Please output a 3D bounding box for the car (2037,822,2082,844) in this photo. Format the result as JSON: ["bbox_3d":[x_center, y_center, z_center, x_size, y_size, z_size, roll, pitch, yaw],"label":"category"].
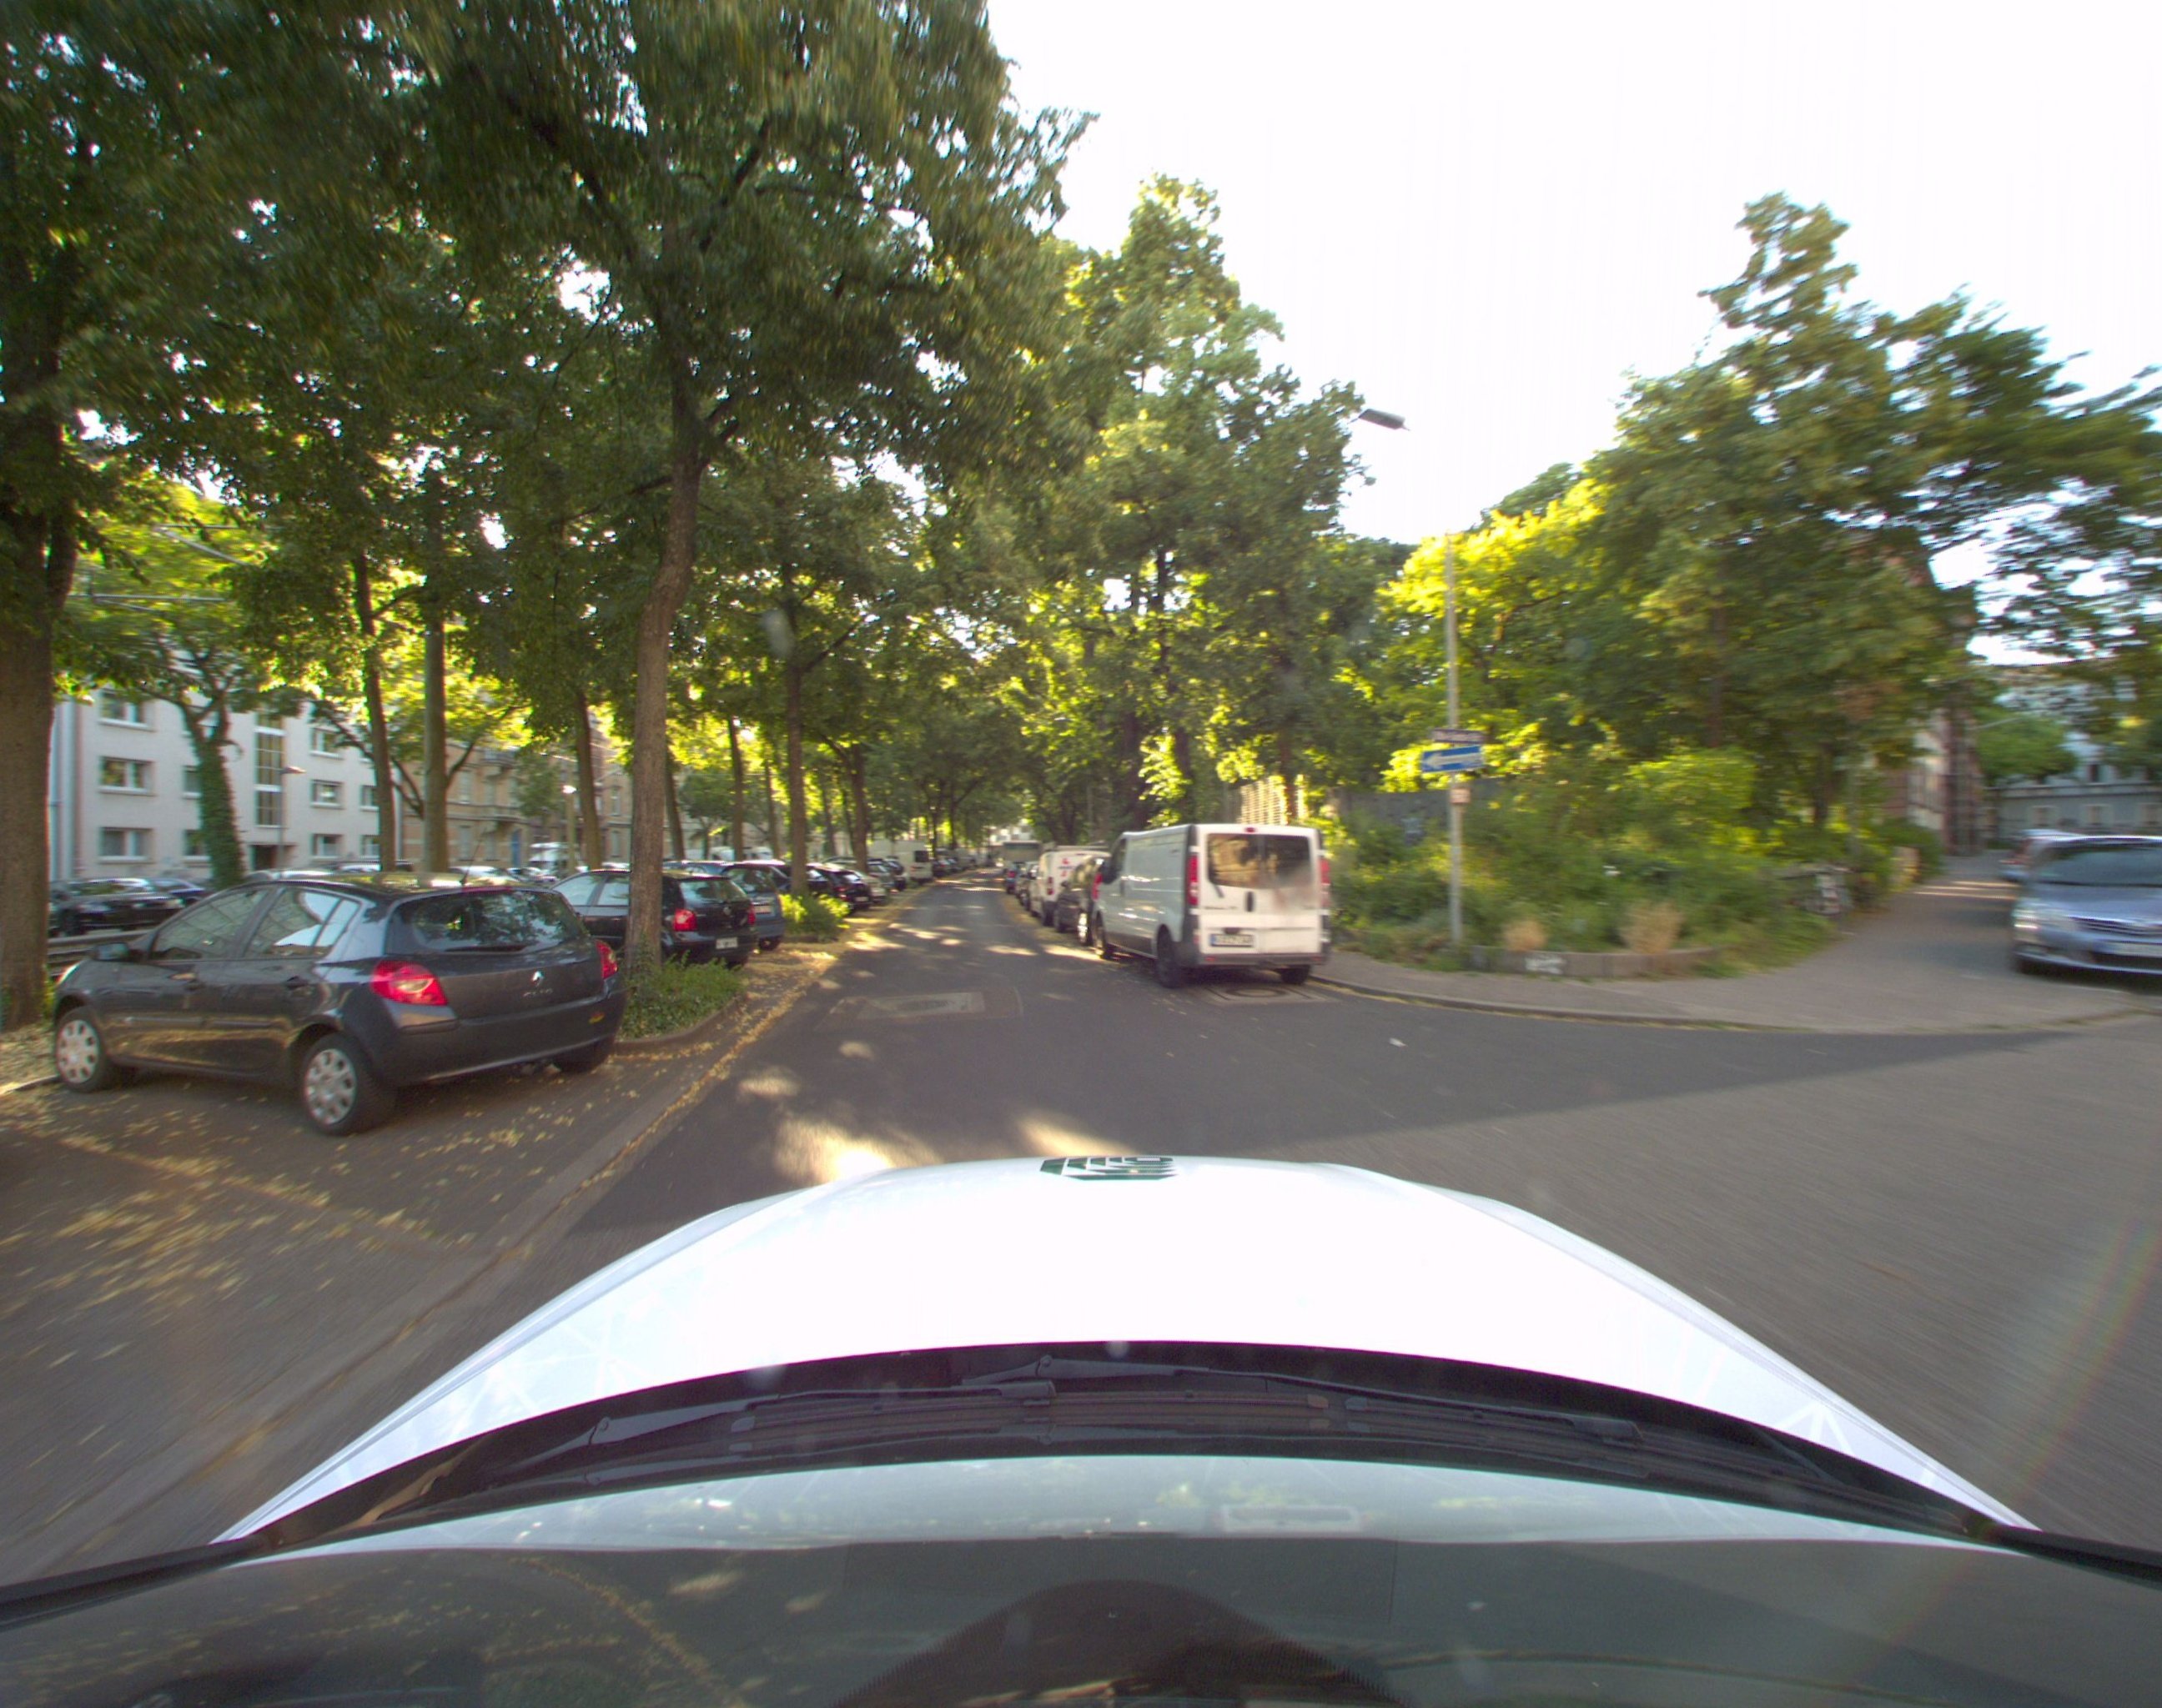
[{"bbox_3d":[81.439,-1.713,67.801,1.975,1.684,4.023,1,0,44],"label":"car"}]

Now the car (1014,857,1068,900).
[{"bbox_3d":[-1.539,0.864,30.349,1.571,1.467,3.589,-1,0,-9],"label":"car"}]

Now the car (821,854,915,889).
[{"bbox_3d":[-9.886,0.806,37.891,3.790,1.482,1.744,2,-1,13],"label":"car"}]

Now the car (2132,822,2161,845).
[{"bbox_3d":[85.388,-1.627,64.559,1.975,1.684,4.023,1,0,44],"label":"car"}]

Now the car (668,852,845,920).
[{"bbox_3d":[-8.209,0.781,20.688,3.790,1.497,1.744,2,-1,13],"label":"car"}]

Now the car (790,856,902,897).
[{"bbox_3d":[-9.247,0.877,32.171,3.790,1.421,1.744,2,-1,13],"label":"car"}]

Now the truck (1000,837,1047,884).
[{"bbox_3d":[-3.117,0.320,43.674,2.363,2.352,4.375,-1,0,-5],"label":"truck"}]

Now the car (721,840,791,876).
[{"bbox_3d":[-27.902,0.350,69.913,5.205,2.571,2.286,-5,0,22],"label":"car"}]

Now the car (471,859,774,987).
[{"bbox_3d":[-6.343,0.862,11.349,3.579,1.447,1.615,2,1,17],"label":"car"}]

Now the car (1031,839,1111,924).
[{"bbox_3d":[-0.344,0.615,20.626,1.570,1.903,3.892,-1,0,-7],"label":"car"}]

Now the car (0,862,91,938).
[{"bbox_3d":[-23.545,1.096,17.364,4.193,1.458,1.615,-5,0,18],"label":"car"}]

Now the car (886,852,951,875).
[{"bbox_3d":[-11.192,0.654,56.246,4.042,1.473,1.829,2,-1,25],"label":"car"}]

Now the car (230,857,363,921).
[{"bbox_3d":[-24.781,1.107,25.703,4.186,1.651,1.870,-5,0,30],"label":"car"}]

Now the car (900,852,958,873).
[{"bbox_3d":[-11.754,0.644,63.102,4.042,1.473,1.829,2,-1,25],"label":"car"}]

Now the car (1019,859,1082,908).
[{"bbox_3d":[-1.019,0.868,25.545,1.570,1.386,3.590,-1,0,-9],"label":"car"}]

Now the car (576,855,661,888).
[{"bbox_3d":[-26.173,1.012,46.095,4.190,1.473,1.868,-5,0,22],"label":"car"}]

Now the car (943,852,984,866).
[{"bbox_3d":[-12.991,0.563,89.960,4.042,1.473,1.829,2,-1,25],"label":"car"}]

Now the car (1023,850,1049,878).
[{"bbox_3d":[-2.845,0.612,51.632,1.568,1.648,3.596,-1,0,-3],"label":"car"}]

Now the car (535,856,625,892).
[{"bbox_3d":[-26.515,1.060,43.109,4.190,1.473,1.868,-5,0,22],"label":"car"}]

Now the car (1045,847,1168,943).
[{"bbox_3d":[0.374,0.704,16.064,1.572,1.637,3.696,-1,0,-12],"label":"car"}]

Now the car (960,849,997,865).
[{"bbox_3d":[-12.402,0.399,98.457,4.042,1.789,1.829,2,-1,25],"label":"car"}]

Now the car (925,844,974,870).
[{"bbox_3d":[-12.012,0.247,74.525,4.042,2.210,1.829,2,-1,25],"label":"car"}]

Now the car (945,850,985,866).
[{"bbox_3d":[-13.232,0.455,92.831,4.042,1.789,1.829,2,-1,25],"label":"car"}]

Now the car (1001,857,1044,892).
[{"bbox_3d":[-2.613,0.873,35.780,1.571,1.385,3.589,-1,0,-9],"label":"car"}]

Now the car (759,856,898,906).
[{"bbox_3d":[-8.034,0.834,26.032,3.790,1.391,1.744,2,-1,13],"label":"car"}]

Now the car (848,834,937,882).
[{"bbox_3d":[-10.266,0.210,44.391,4.445,2.476,1.829,2,-1,25],"label":"car"}]

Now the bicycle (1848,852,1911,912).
[{"bbox_3d":[16.351,0.538,16.657,2.640,1.101,0.592,-1,0,-39],"label":"bicycle"}]

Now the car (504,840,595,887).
[{"bbox_3d":[-35.026,0.565,53.906,2.547,2.887,5.475,-2,1,-3],"label":"car"}]

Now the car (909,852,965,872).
[{"bbox_3d":[-11.648,0.641,65.787,4.042,1.473,1.829,2,-1,25],"label":"car"}]

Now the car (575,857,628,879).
[{"bbox_3d":[-35.876,1.024,61.066,1.707,1.445,3.996,-2,1,-3],"label":"car"}]

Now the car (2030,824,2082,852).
[{"bbox_3d":[55.662,-0.946,46.509,3.951,1.500,1.811,-1,4,-40],"label":"car"}]

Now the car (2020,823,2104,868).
[{"bbox_3d":[35.816,-0.341,29.765,3.951,1.500,1.811,-1,4,-40],"label":"car"}]

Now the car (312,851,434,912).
[{"bbox_3d":[-24.737,0.976,28.445,4.186,1.749,1.870,-5,0,30],"label":"car"}]

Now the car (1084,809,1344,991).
[{"bbox_3d":[1.547,0.497,11.420,1.947,2.003,4.637,0,0,-14],"label":"car"}]

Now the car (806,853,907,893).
[{"bbox_3d":[-9.703,0.805,35.349,3.790,1.587,1.744,2,-1,13],"label":"car"}]

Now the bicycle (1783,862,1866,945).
[{"bbox_3d":[11.365,0.700,12.410,2.641,1.101,0.591,-1,0,-40],"label":"bicycle"}]

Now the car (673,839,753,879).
[{"bbox_3d":[-27.688,0.389,61.270,5.205,2.571,2.286,-5,0,22],"label":"car"}]

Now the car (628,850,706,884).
[{"bbox_3d":[-25.511,0.807,50.150,4.190,1.698,1.868,-5,0,22],"label":"car"}]

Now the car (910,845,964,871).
[{"bbox_3d":[-12.098,0.342,68.301,4.042,2.040,1.829,2,-1,25],"label":"car"}]

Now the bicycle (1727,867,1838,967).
[{"bbox_3d":[9.246,0.763,10.685,2.640,1.101,0.592,-1,0,-38],"label":"bicycle"}]

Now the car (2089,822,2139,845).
[{"bbox_3d":[83.749,-1.636,66.057,1.975,1.684,4.023,1,0,44],"label":"car"}]

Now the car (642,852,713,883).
[{"bbox_3d":[-27.363,0.936,55.207,4.190,1.698,1.868,-5,0,22],"label":"car"}]

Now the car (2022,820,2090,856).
[{"bbox_3d":[43.807,-0.735,36.609,3.951,1.500,1.811,-1,4,-40],"label":"car"}]

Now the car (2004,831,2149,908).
[{"bbox_3d":[21.859,0.250,17.953,3.951,1.477,1.811,-1,4,-40],"label":"car"}]

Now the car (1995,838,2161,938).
[{"bbox_3d":[17.590,0.486,14.334,3.951,1.446,1.811,-1,4,-40],"label":"car"}]

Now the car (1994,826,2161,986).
[{"bbox_3d":[12.611,0.493,9.896,4.313,1.614,1.811,-1,4,-40],"label":"car"}]

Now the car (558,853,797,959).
[{"bbox_3d":[-6.995,0.824,14.191,3.578,1.562,1.615,2,1,18],"label":"car"}]

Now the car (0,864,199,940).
[{"bbox_3d":[-23.954,1.165,19.870,4.193,1.458,1.615,-5,0,18],"label":"car"}]

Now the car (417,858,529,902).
[{"bbox_3d":[-26.016,1.101,34.858,4.190,1.473,1.868,-5,0,22],"label":"car"}]

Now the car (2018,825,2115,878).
[{"bbox_3d":[31.353,-0.132,25.951,3.951,1.500,1.811,-1,4,-40],"label":"car"}]

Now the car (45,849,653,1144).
[{"bbox_3d":[-5.192,0.779,5.843,3.693,1.520,1.615,2,1,19],"label":"car"}]

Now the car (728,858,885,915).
[{"bbox_3d":[-7.724,0.887,23.026,3.790,1.391,1.744,2,-1,13],"label":"car"}]

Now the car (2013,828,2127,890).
[{"bbox_3d":[26.958,0.072,22.251,3.951,1.500,1.811,-1,4,-40],"label":"car"}]

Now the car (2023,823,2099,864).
[{"bbox_3d":[39.212,-0.465,32.618,3.951,1.500,1.811,-1,4,-40],"label":"car"}]
